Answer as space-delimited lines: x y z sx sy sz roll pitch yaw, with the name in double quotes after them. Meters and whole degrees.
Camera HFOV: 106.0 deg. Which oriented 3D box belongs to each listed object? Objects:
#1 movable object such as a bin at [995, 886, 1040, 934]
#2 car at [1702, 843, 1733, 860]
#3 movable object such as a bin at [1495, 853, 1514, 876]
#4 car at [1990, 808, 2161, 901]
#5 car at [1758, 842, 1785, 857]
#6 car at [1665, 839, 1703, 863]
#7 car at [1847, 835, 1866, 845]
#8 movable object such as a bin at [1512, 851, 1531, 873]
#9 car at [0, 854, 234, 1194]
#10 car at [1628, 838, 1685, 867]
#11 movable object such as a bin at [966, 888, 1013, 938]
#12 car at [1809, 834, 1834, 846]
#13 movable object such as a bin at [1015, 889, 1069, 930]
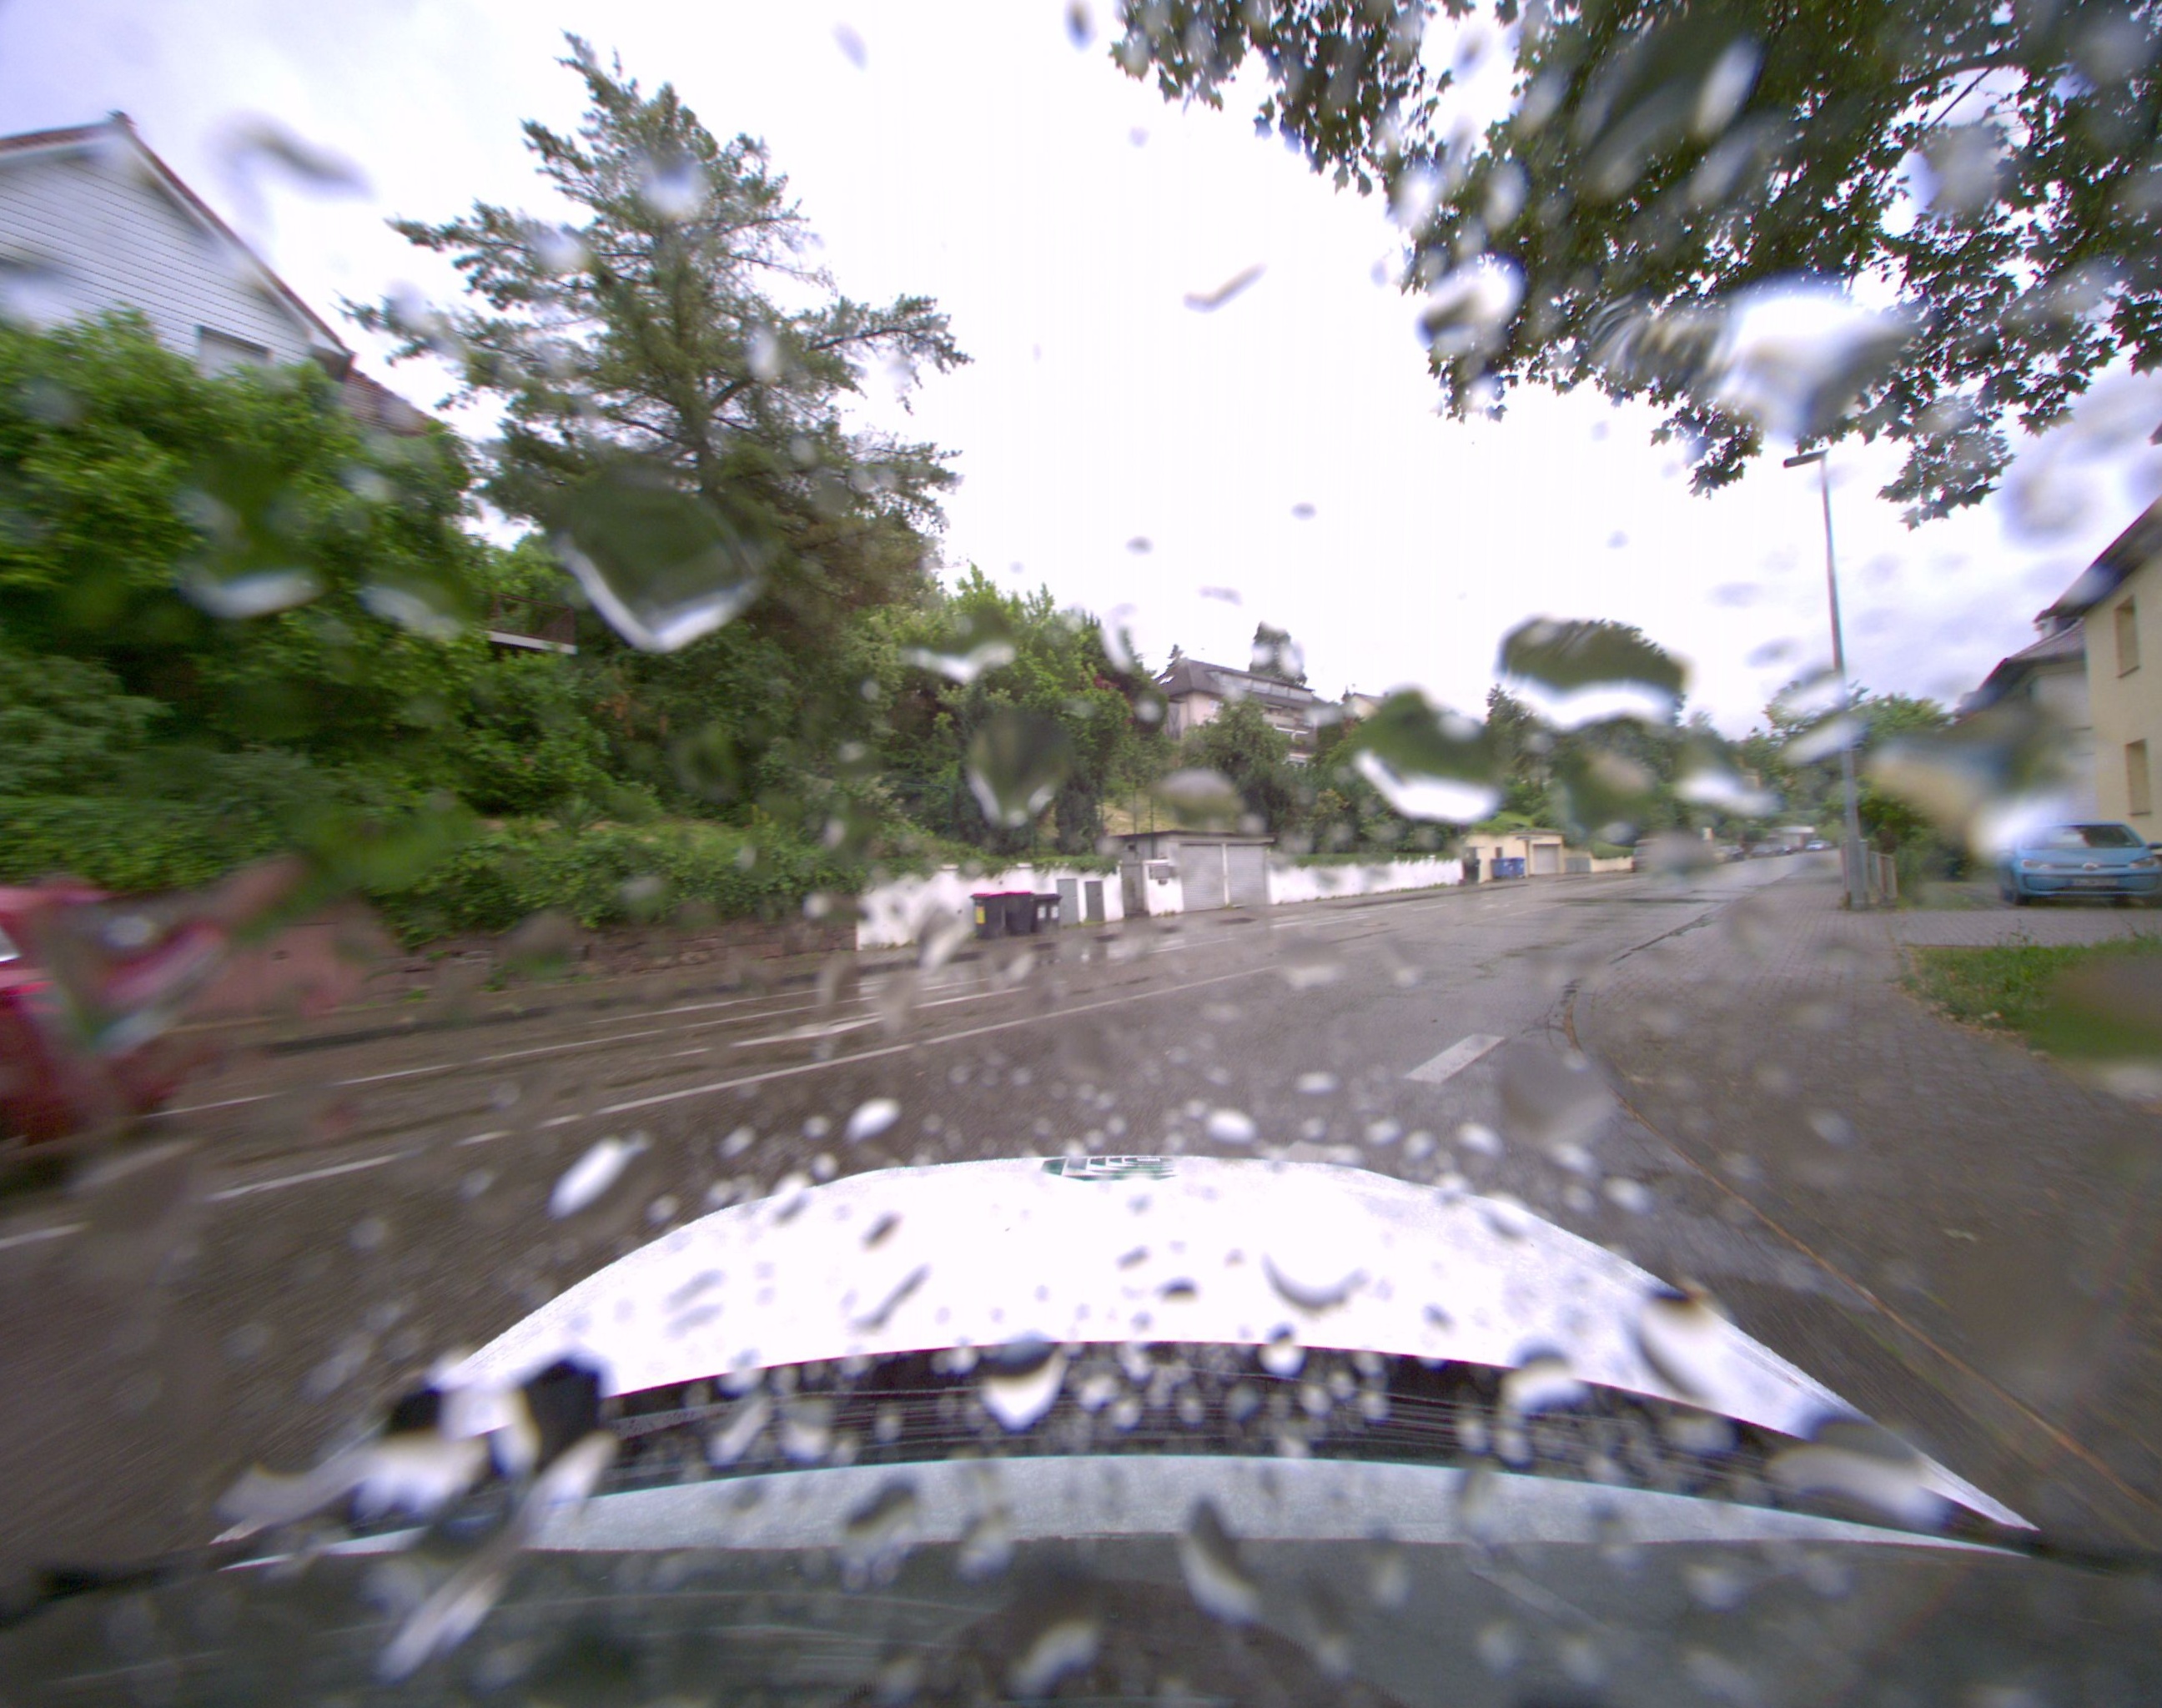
-1.487 1.317 19.135 0.628 1.060 0.799 -5 -2 42 "movable object such as a bin"
58.153 -0.260 74.360 3.702 1.345 1.694 -3 -1 -45 "car"
26.311 0.669 50.618 0.838 1.336 0.705 -3 -2 -39 "movable object such as a bin"
17.851 -0.022 14.715 3.570 1.447 1.630 -3 -1 -45 "car"
78.816 -0.517 92.922 3.837 1.551 1.699 -3 -1 -40 "car"
49.469 -0.260 66.798 4.024 1.682 1.801 -3 -1 -45 "car"
122.478 -2.237 128.619 3.837 1.456 1.740 -3 -1 -41 "car"
28.126 0.528 51.991 0.838 1.336 0.705 -3 -2 -39 "movable object such as a bin"
-6.878 0.926 3.356 1.752 1.601 4.611 -5 -1 42 "car"
42.029 -0.130 59.435 5.209 1.753 2.275 -3 -1 -43 "car"
-2.087 1.341 18.591 0.680 1.060 0.758 -5 -2 42 "movable object such as a bin"
104.129 -1.991 114.512 3.835 1.456 1.807 -3 -1 -37 "car"
-0.953 1.368 20.030 0.841 0.916 0.960 -5 -1 41 "movable object such as a bin"
